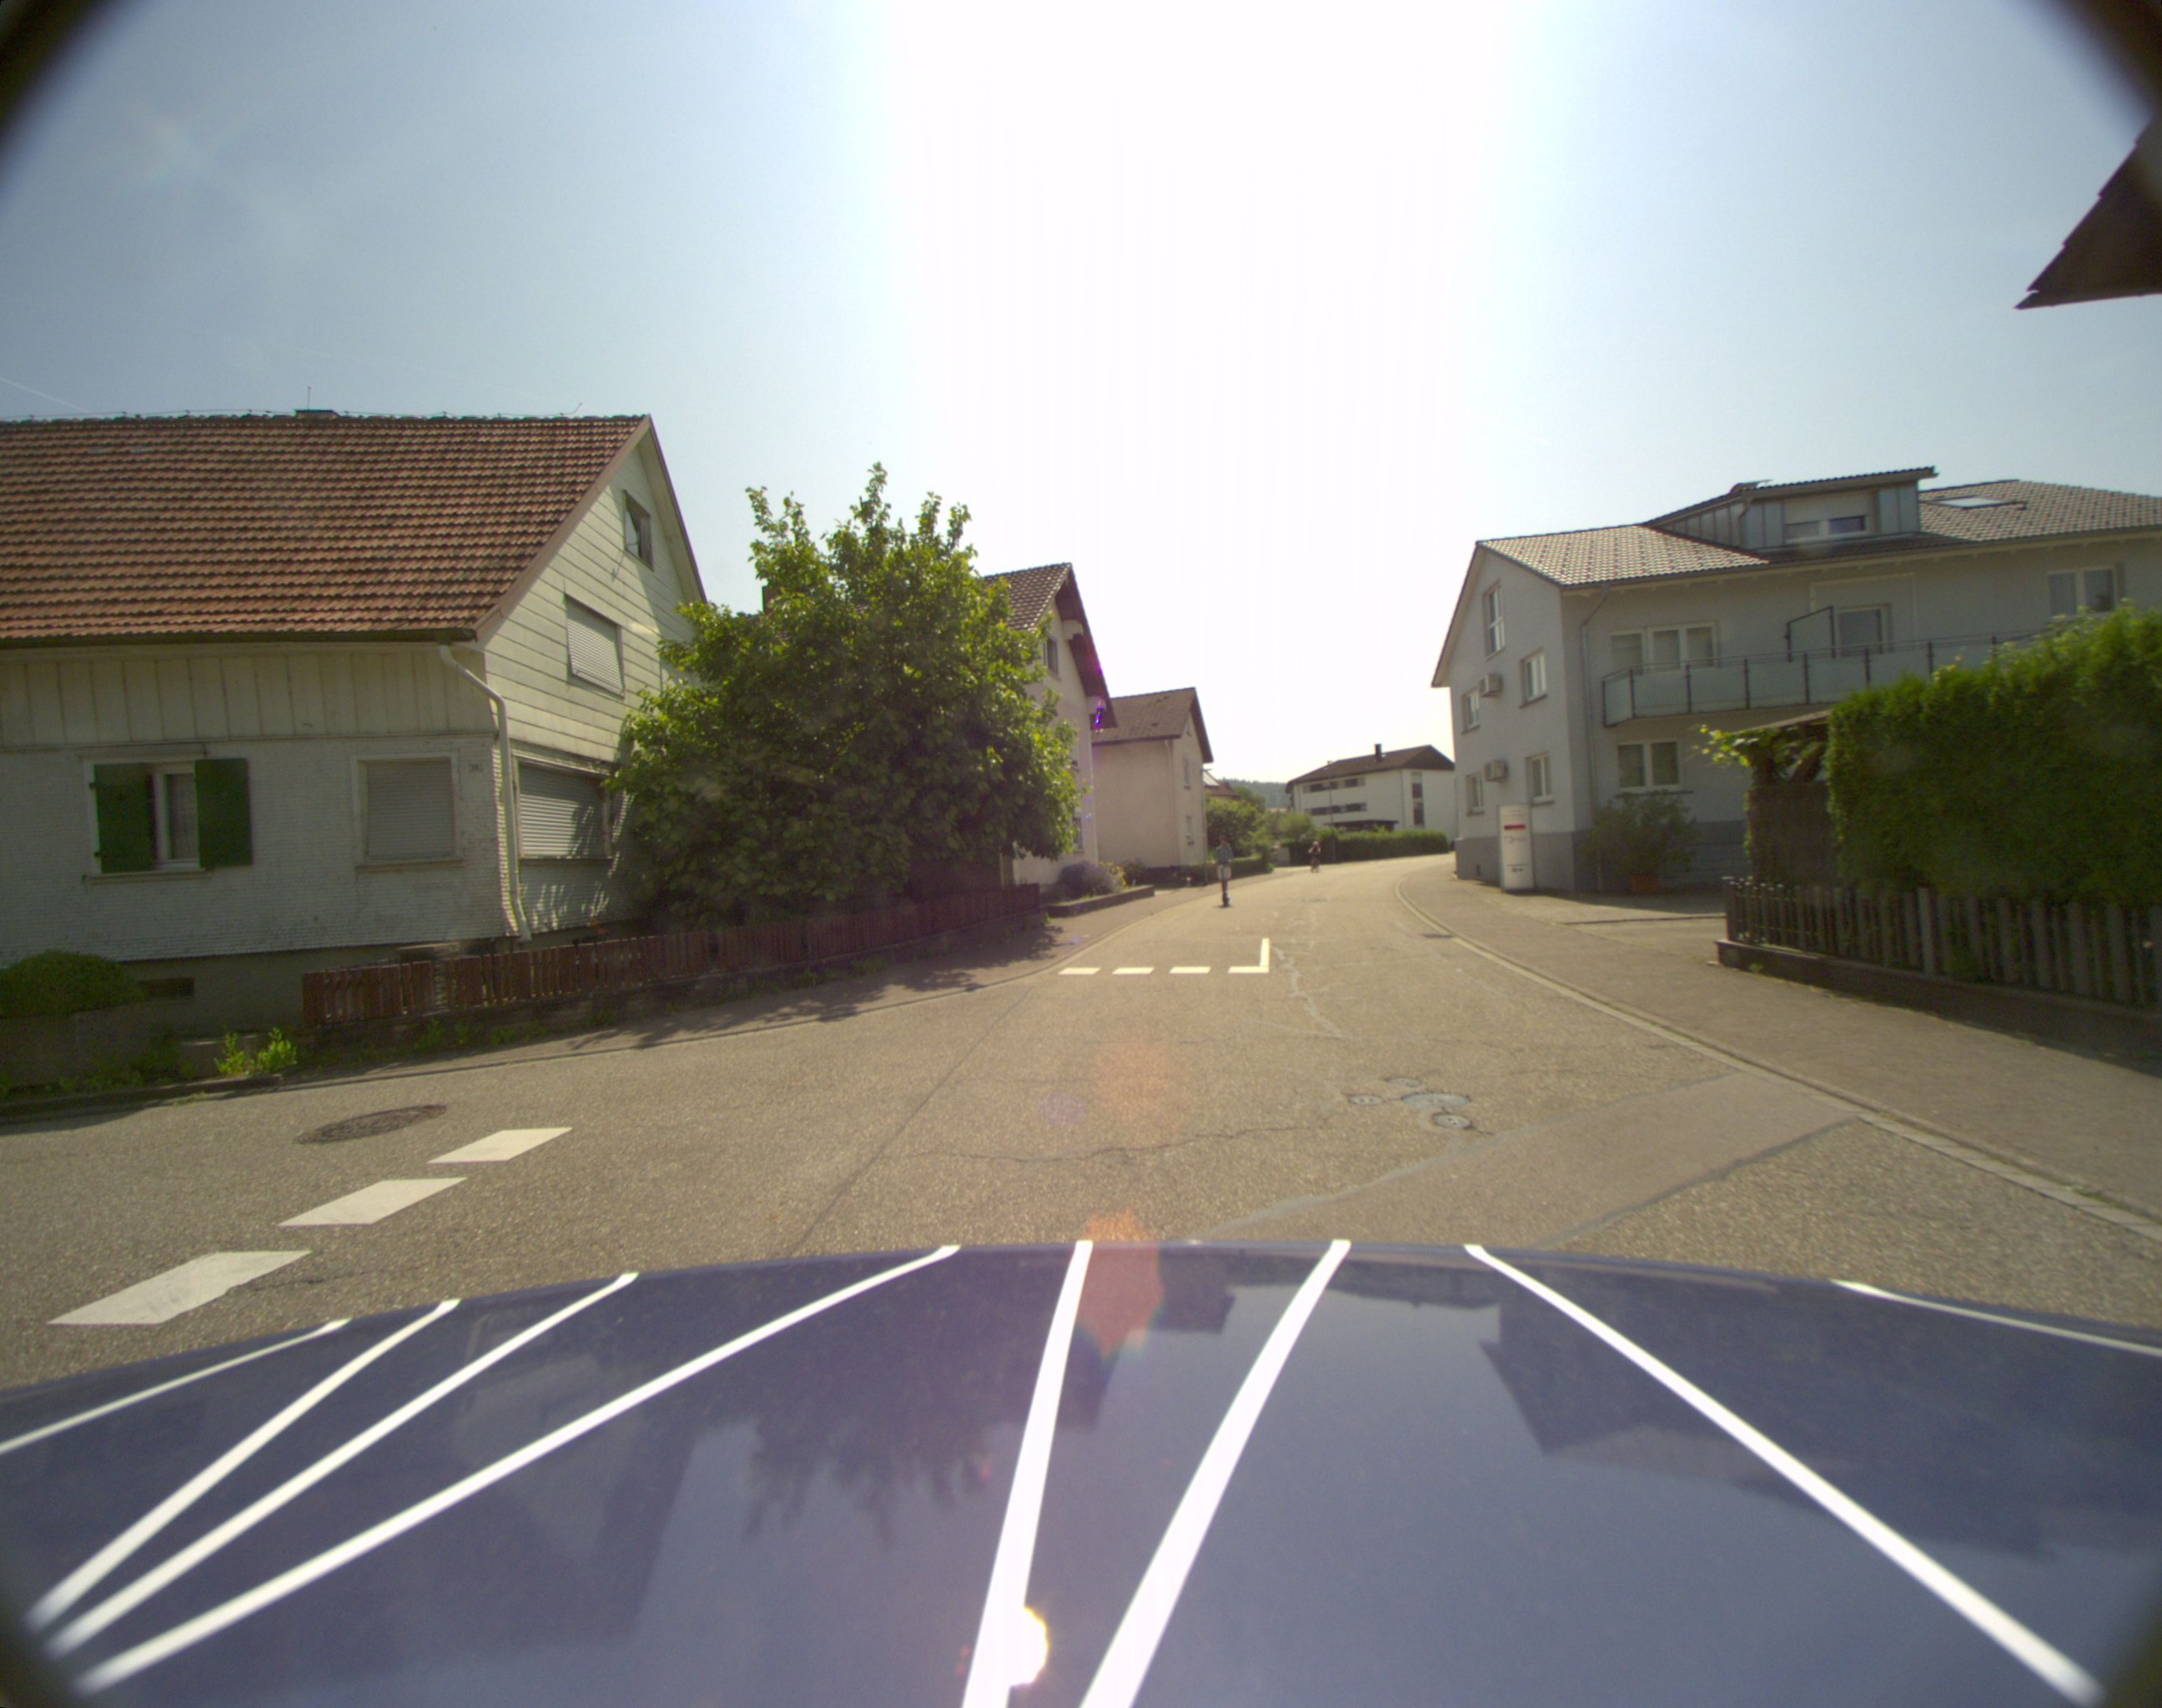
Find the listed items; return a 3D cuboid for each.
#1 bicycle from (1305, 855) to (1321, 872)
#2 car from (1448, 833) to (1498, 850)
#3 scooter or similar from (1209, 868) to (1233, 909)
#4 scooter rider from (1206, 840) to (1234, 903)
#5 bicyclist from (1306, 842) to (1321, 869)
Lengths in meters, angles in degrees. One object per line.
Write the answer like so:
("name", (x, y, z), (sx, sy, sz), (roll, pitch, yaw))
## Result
("bicycle", (12.901, 0.522, 42.188), (0.520, 0.898, 1.315), (-2, 1, 32))
("car", (42.125, -1.364, 81.747), (2.069, 1.662, 4.281), (-3, 1, -40))
("scooter or similar", (3.923, 0.954, 21.306), (0.542, 1.083, 0.692), (-3, 1, 16))
("scooter rider", (3.904, 0.483, 21.300), (0.616, 1.714, 0.641), (-3, 1, 16))
("bicyclist", (12.894, 0.087, 42.205), (0.546, 1.481, 0.798), (-2, 1, 32))
